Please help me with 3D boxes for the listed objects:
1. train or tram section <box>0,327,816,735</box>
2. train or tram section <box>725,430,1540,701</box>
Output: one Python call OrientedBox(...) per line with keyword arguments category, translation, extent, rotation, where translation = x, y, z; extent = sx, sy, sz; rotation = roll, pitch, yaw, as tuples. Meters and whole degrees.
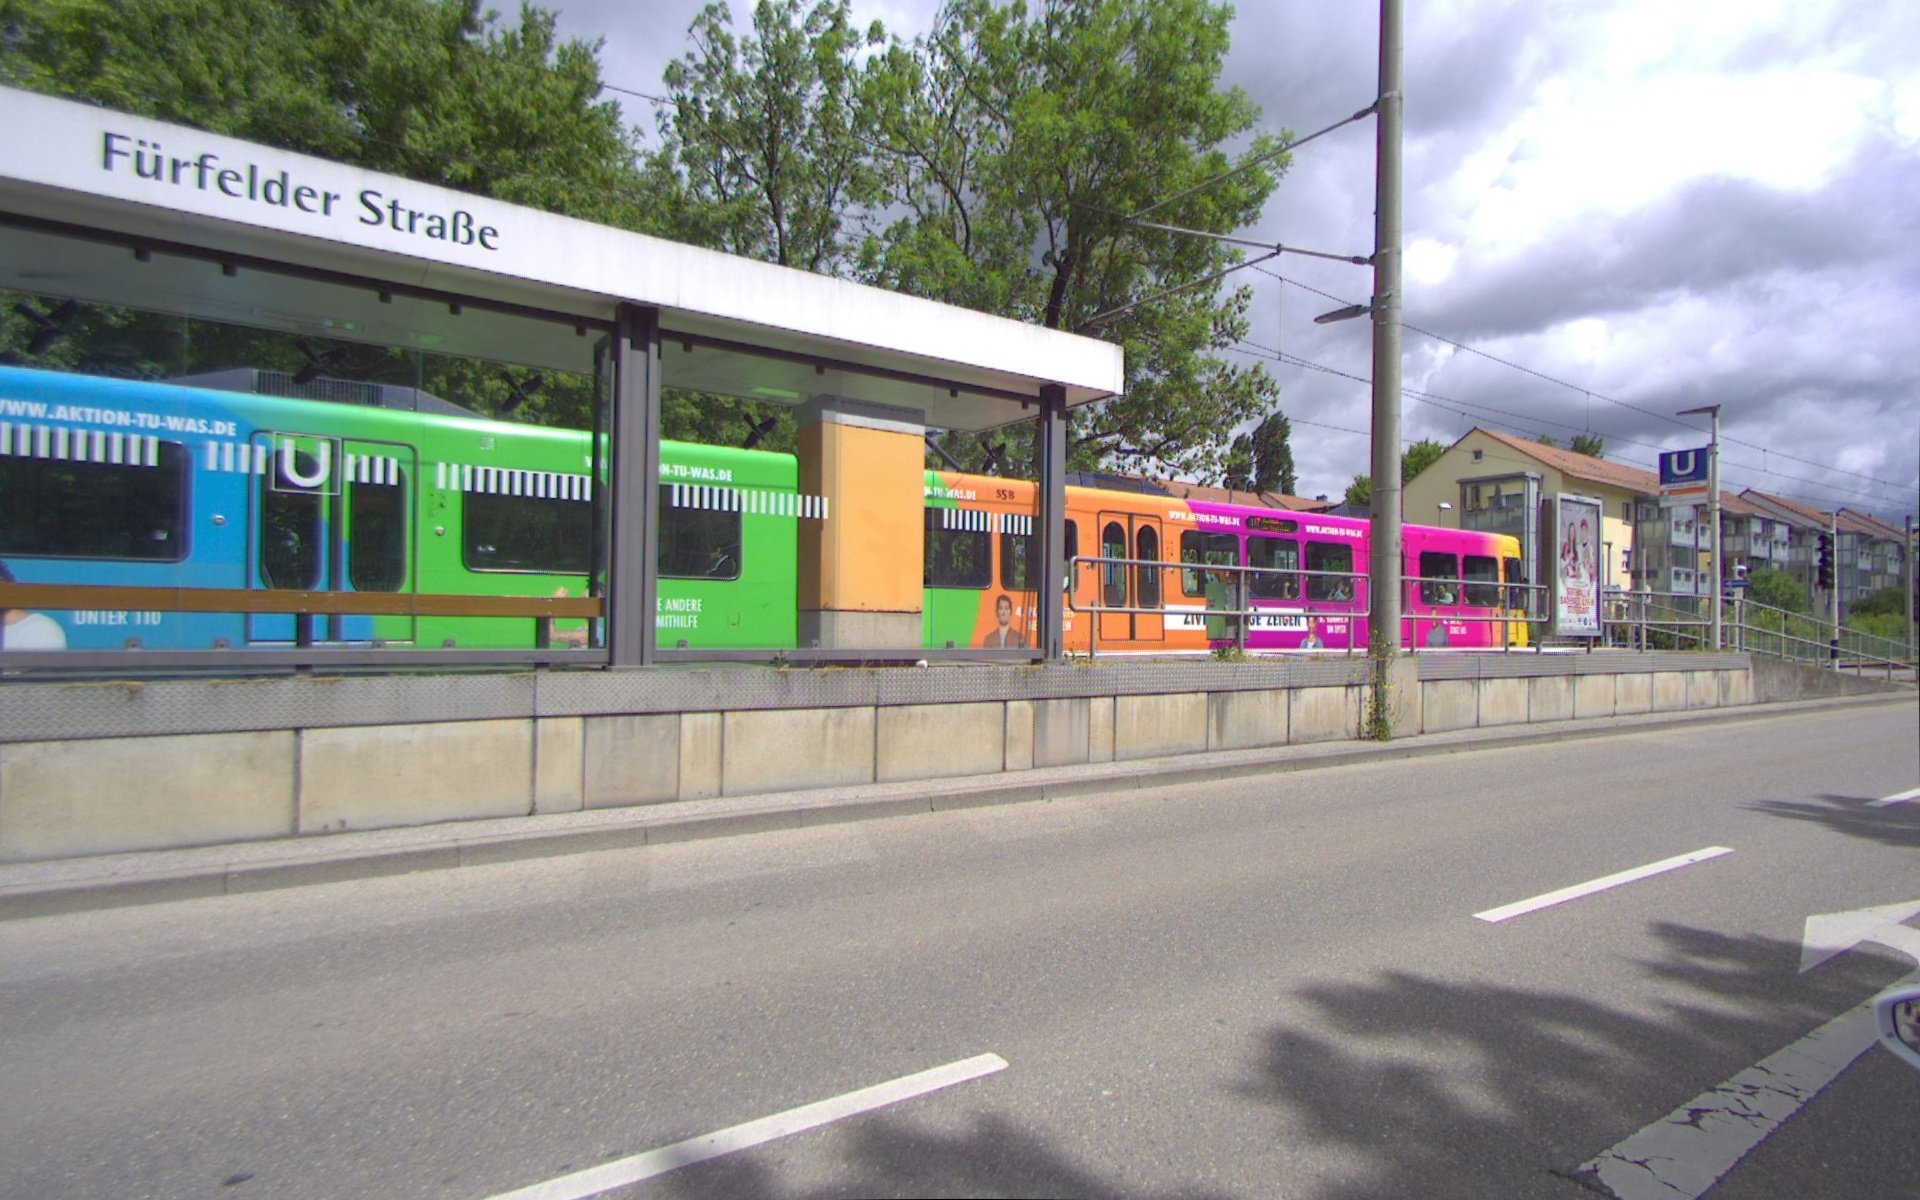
OrientedBox(category="train or tram section", translation=(-10.578, -0.649, 8.911), extent=(19.001, 3.511, 3.088), rotation=(1, 0, -35))
OrientedBox(category="train or tram section", translation=(5.017, -0.295, 19.650), extent=(18.893, 3.511, 3.088), rotation=(1, 0, -35))
